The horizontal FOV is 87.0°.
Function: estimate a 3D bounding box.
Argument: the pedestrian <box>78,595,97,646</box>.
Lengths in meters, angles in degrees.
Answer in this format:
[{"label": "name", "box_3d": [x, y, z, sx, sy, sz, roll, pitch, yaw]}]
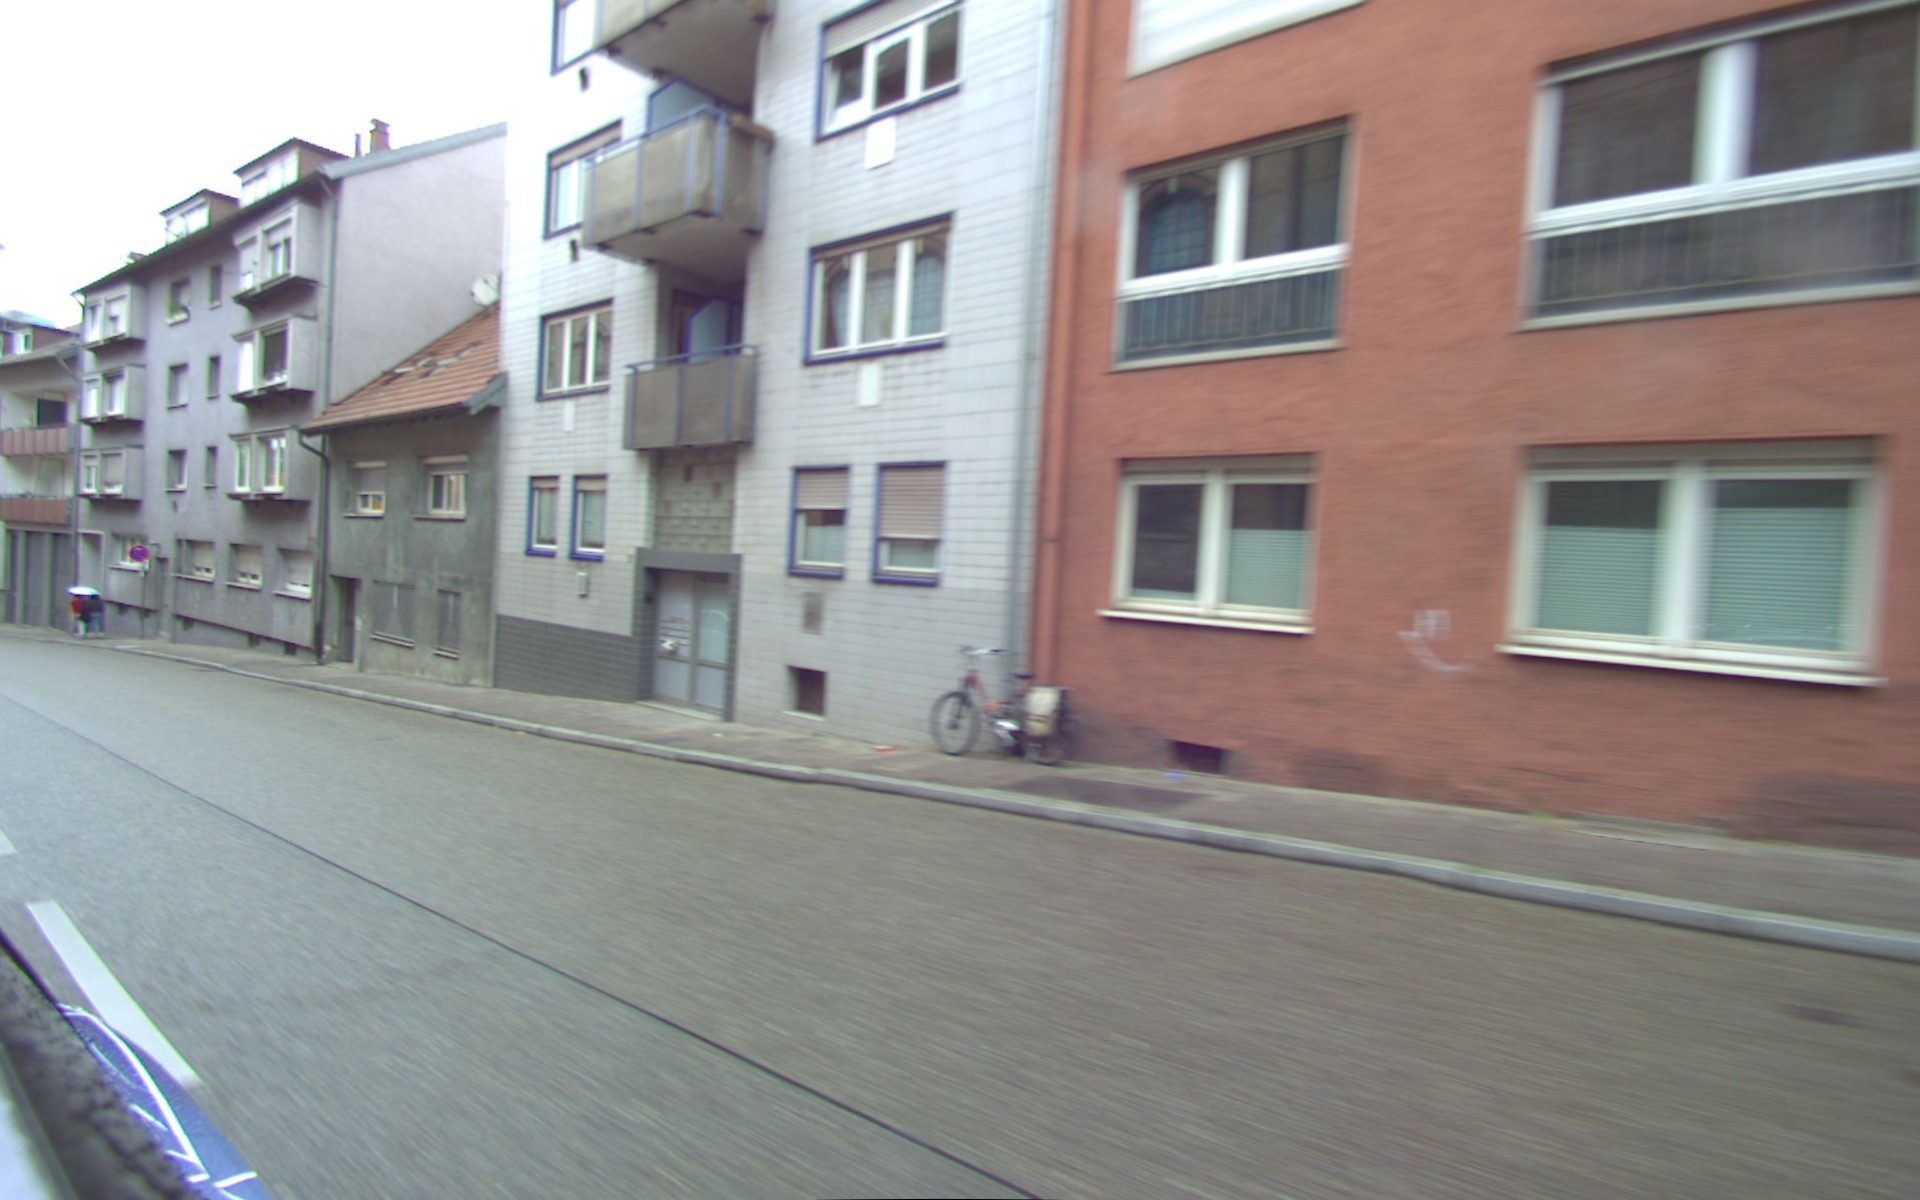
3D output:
[{"label": "pedestrian", "box_3d": [-30.753, 0.715, 35.670, 0.498, 1.793, 0.377, 0, 0, 32]}]

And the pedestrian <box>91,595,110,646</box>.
[{"label": "pedestrian", "box_3d": [-30.558, 0.712, 35.983, 0.498, 1.793, 0.351, 0, 0, 32]}]

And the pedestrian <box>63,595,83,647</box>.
[{"label": "pedestrian", "box_3d": [-30.959, 0.718, 35.332, 0.498, 1.793, 0.382, 0, 0, 32]}]

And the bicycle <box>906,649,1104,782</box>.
[{"label": "bicycle", "box_3d": [0.397, 1.080, 9.977, 2.039, 1.125, 0.565, -1, 1, 42]}]
